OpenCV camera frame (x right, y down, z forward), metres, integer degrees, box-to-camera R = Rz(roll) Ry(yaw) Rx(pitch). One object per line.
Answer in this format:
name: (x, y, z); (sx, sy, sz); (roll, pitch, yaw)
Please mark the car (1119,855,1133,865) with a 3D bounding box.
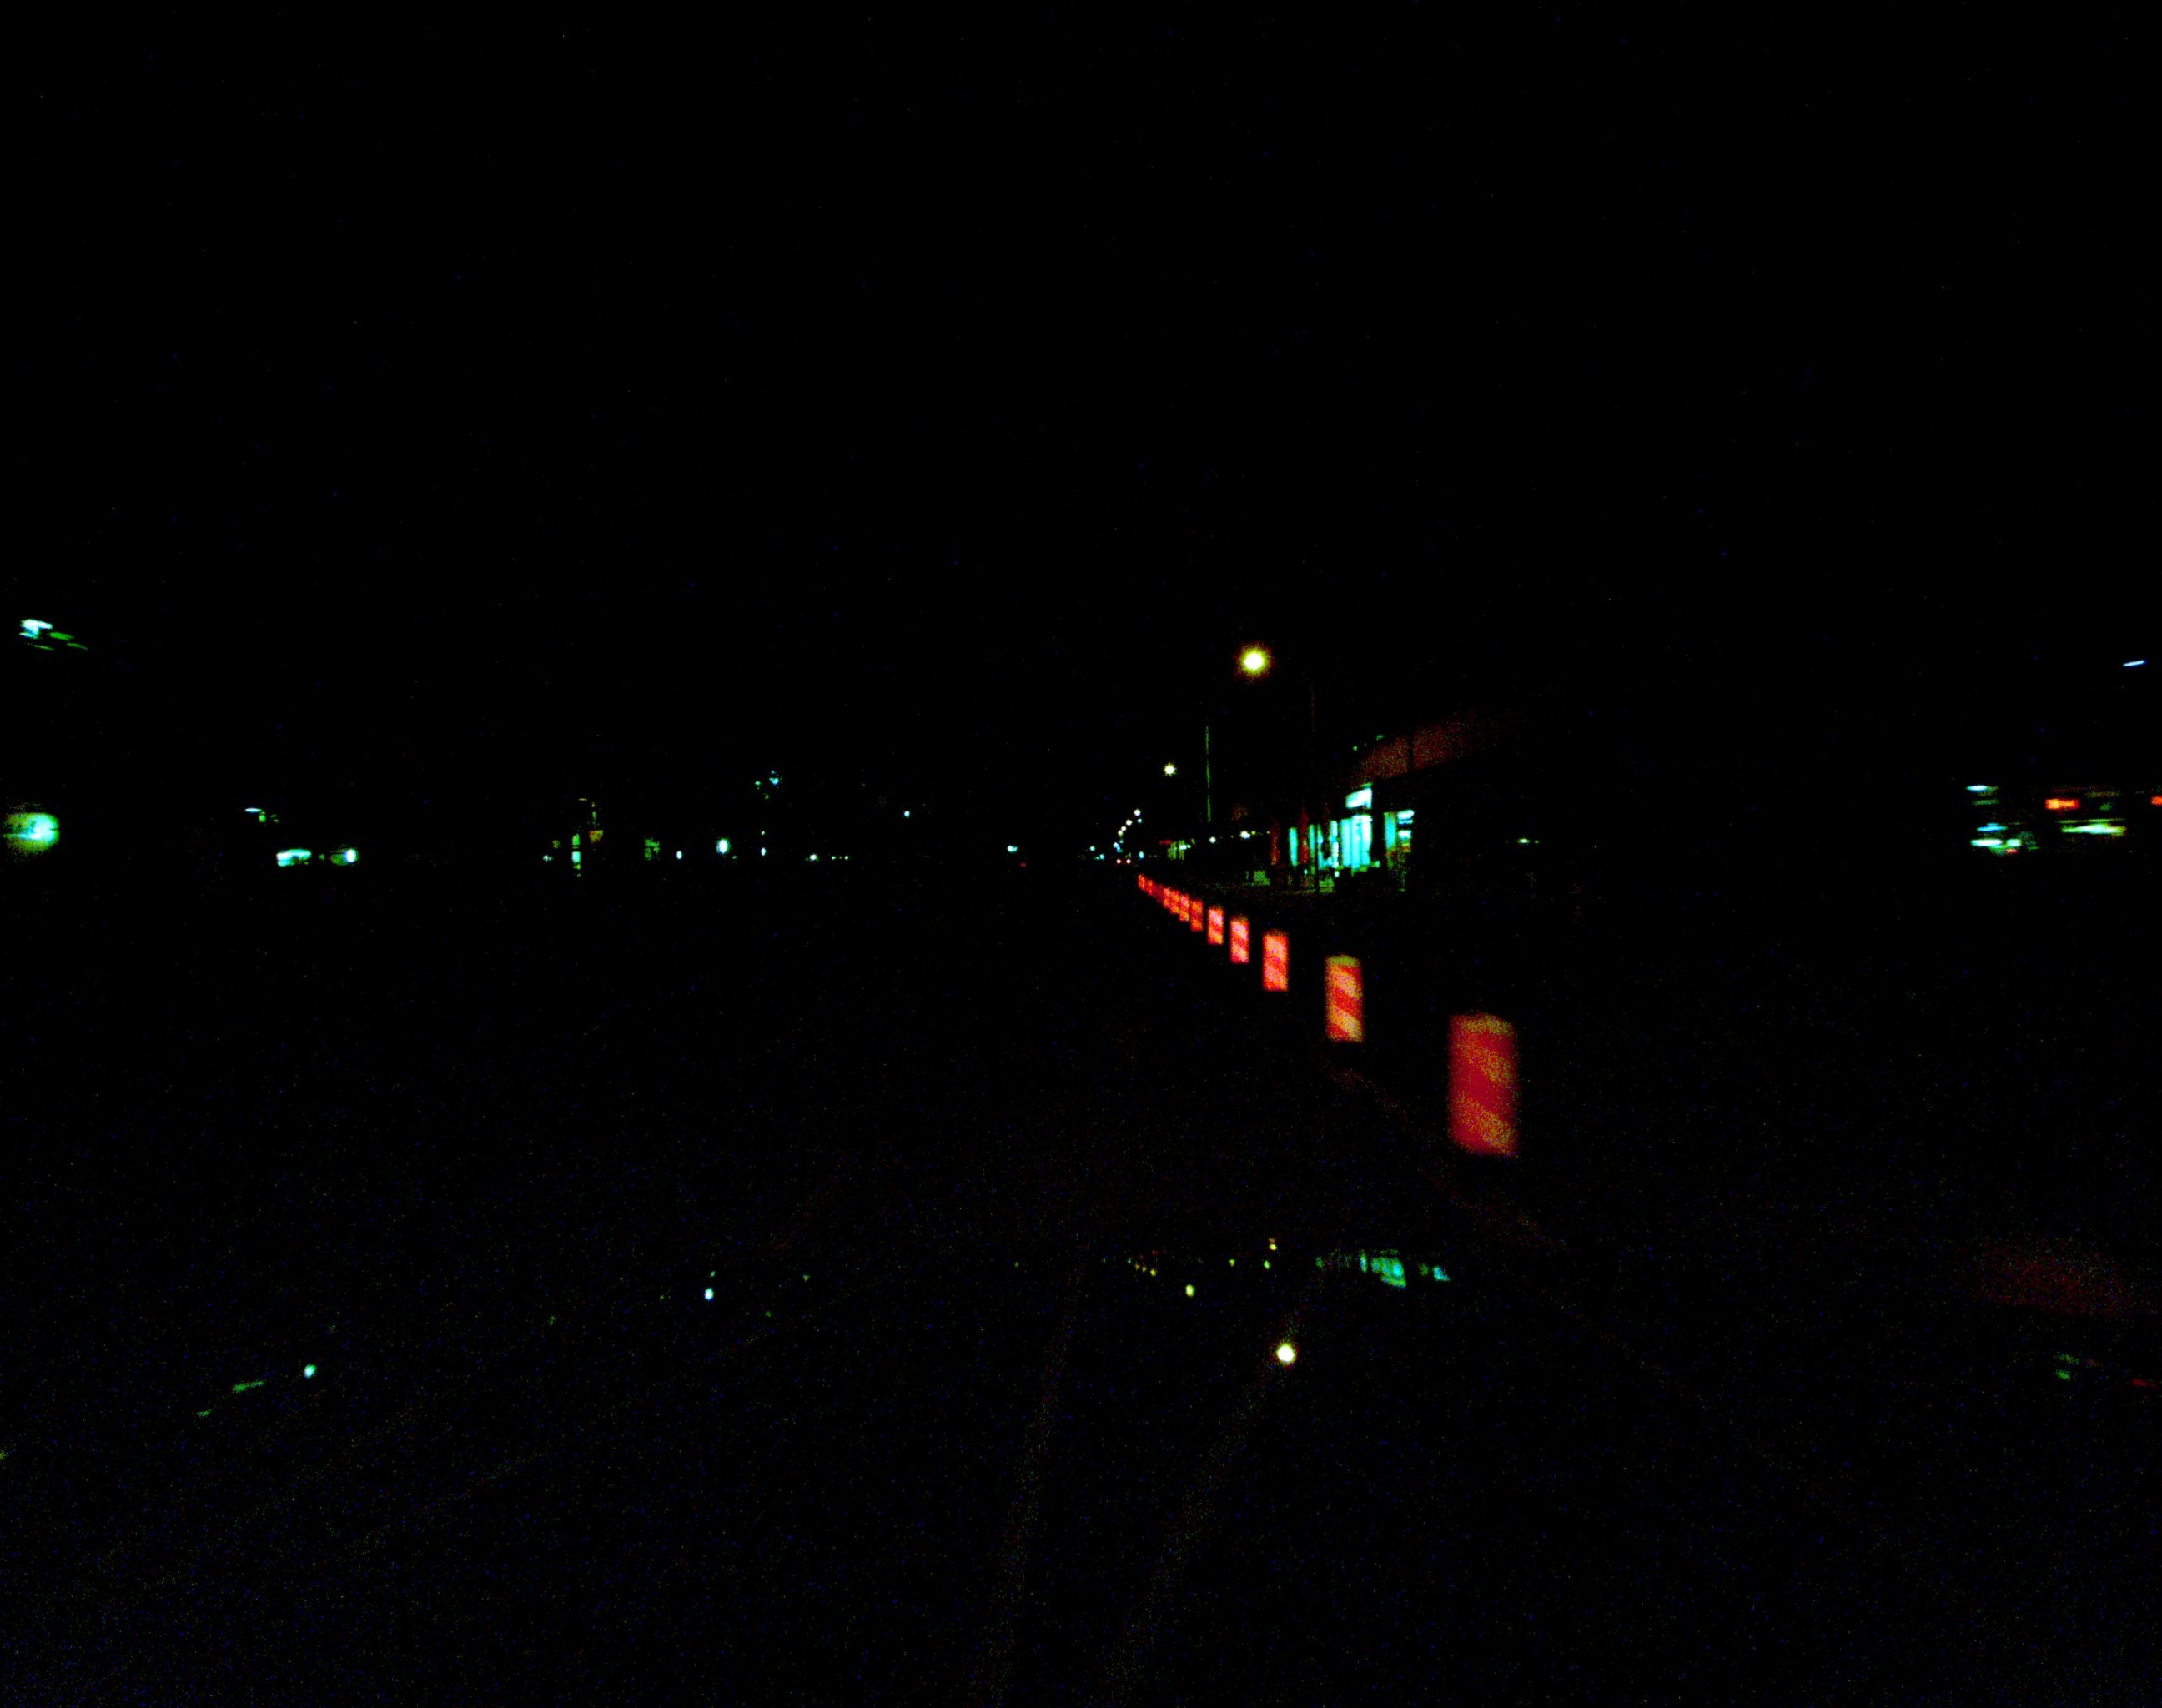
car: (6.222, 0.797, 105.144); (1.671, 1.420, 4.000); (1, 0, 1)
